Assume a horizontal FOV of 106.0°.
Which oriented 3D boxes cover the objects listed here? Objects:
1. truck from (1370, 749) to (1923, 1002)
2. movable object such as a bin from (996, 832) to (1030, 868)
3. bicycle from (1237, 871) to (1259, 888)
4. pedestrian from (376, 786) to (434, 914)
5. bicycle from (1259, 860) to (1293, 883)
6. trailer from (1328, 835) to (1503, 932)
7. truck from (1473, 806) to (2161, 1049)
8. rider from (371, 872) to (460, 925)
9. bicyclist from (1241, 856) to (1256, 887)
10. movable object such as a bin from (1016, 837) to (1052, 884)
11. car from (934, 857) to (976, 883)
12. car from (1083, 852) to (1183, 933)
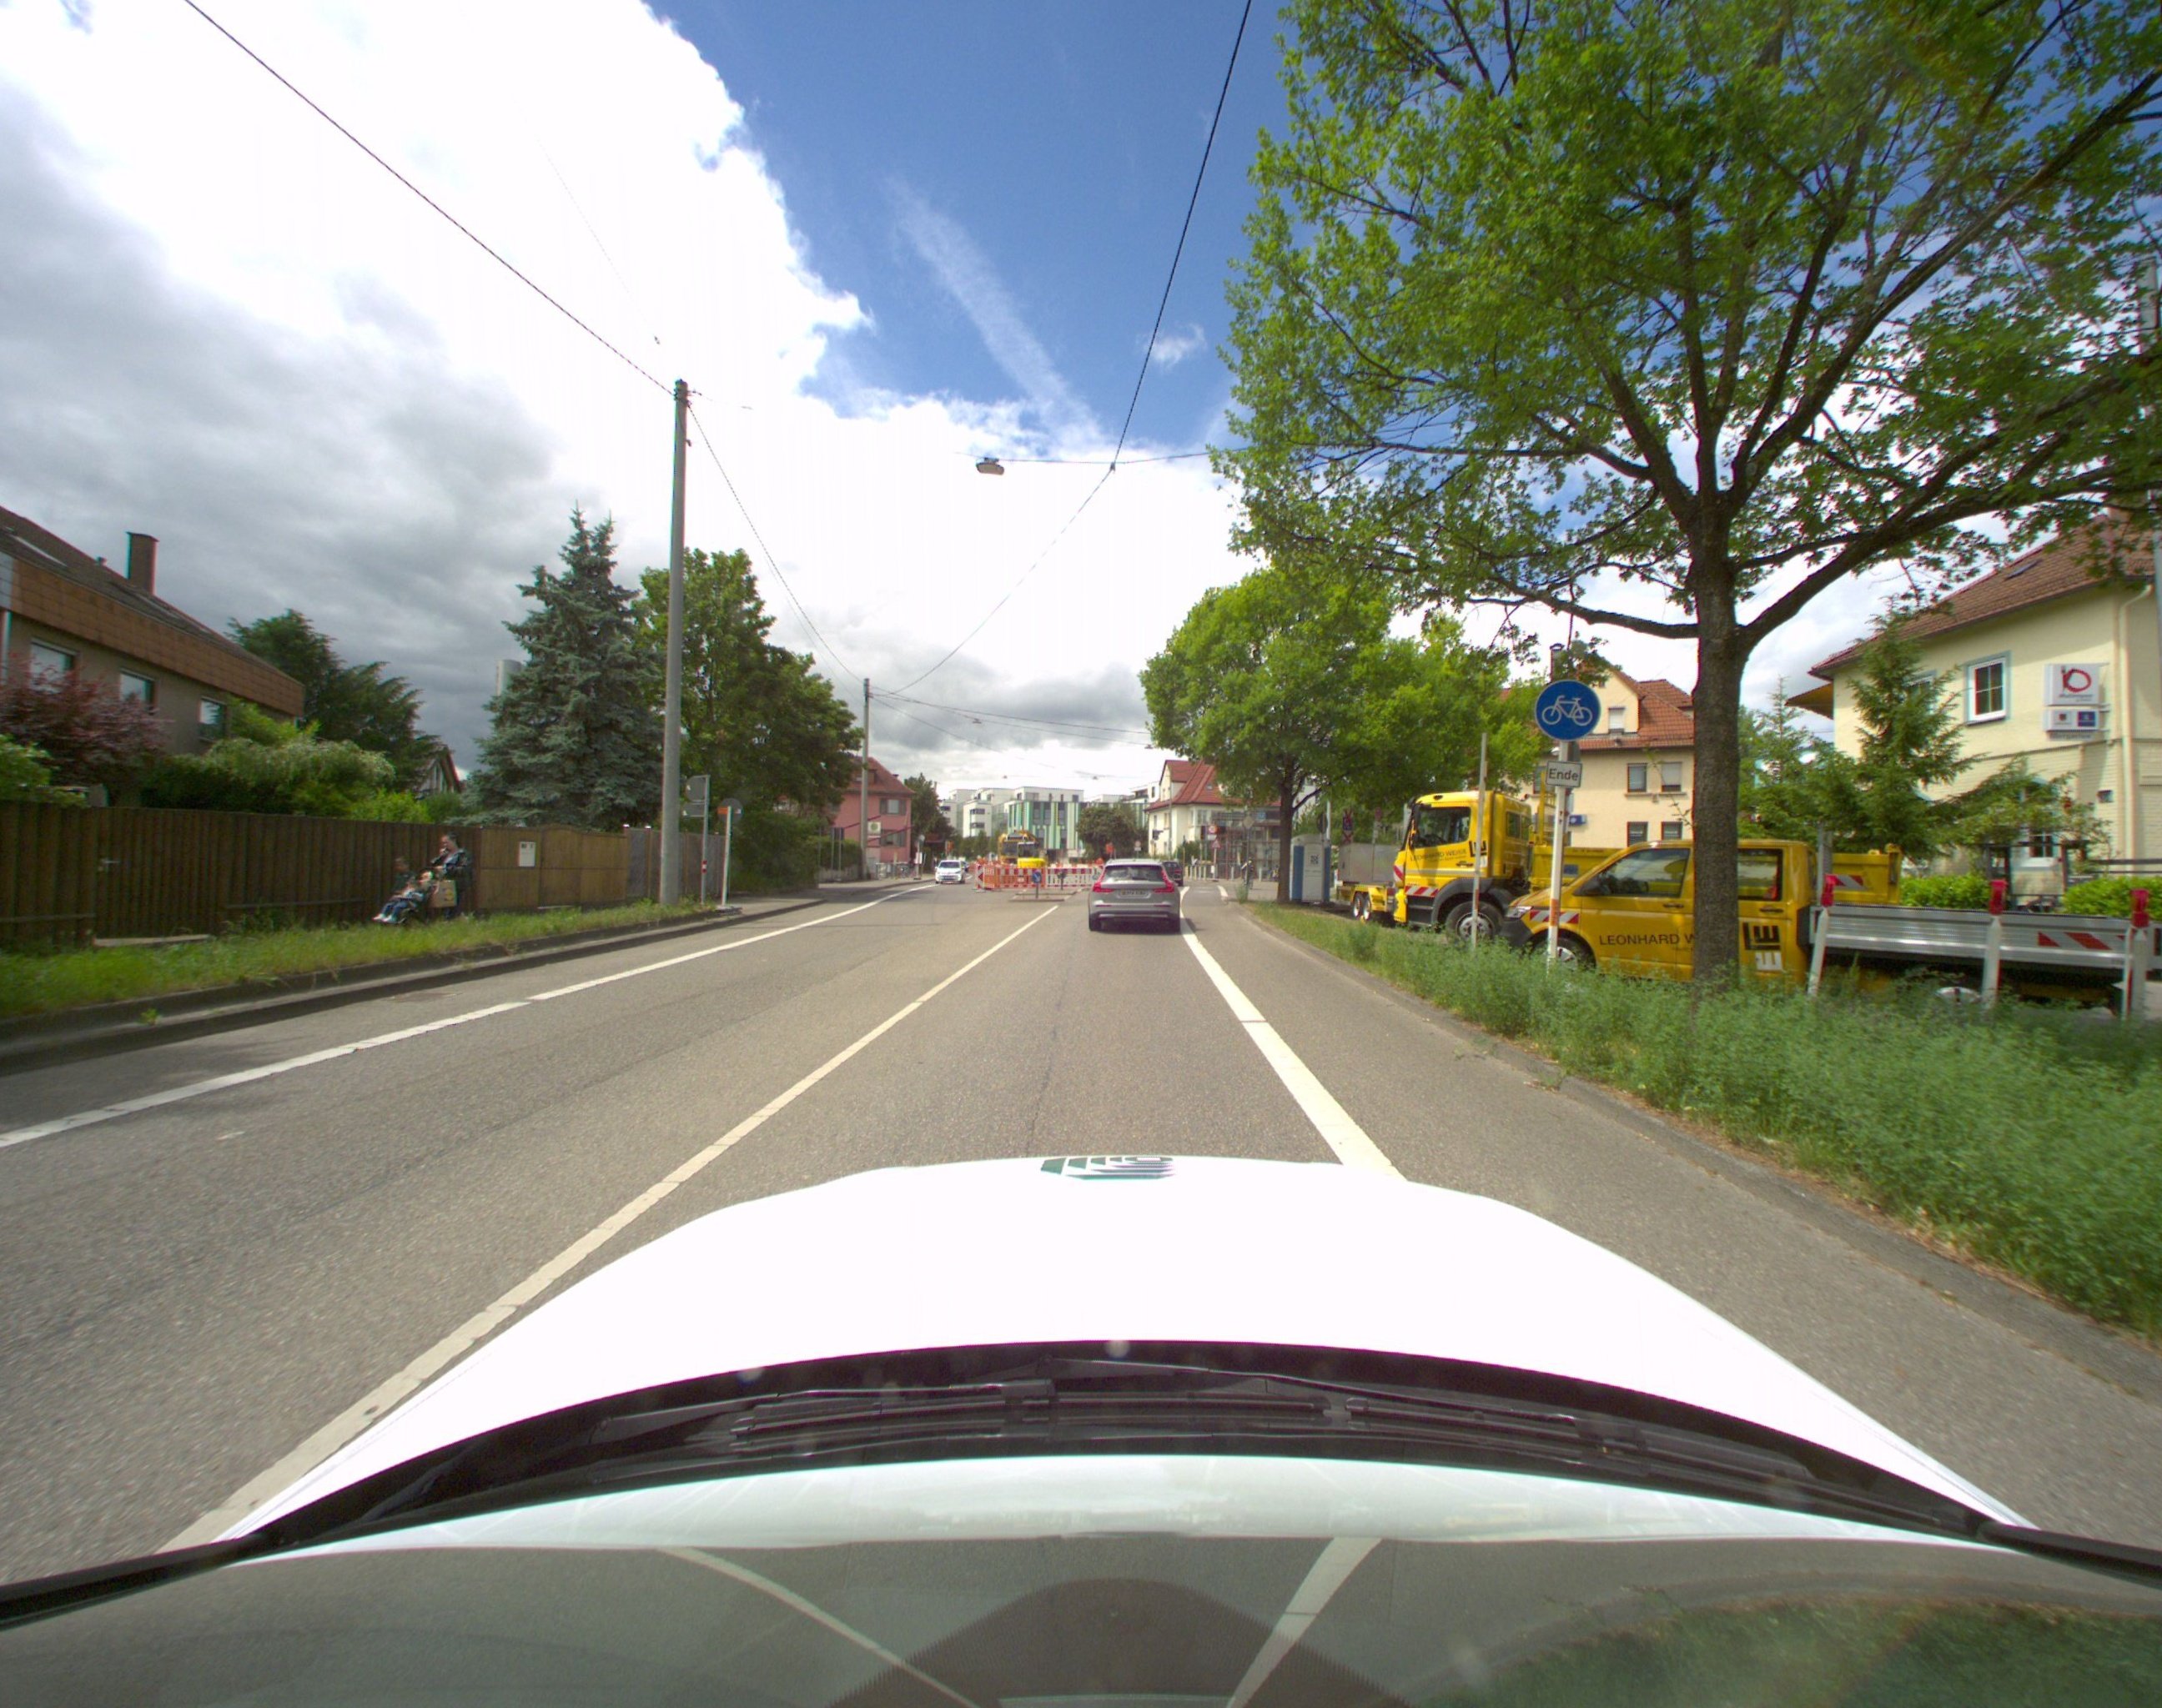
[{"bbox_3d":[8.461,0.253,12.932,6.623,3.008,2.786,2,-3,43],"label":"truck"},{"bbox_3d":[-6.070,-0.361,71.768,2.311,2.990,6.403,1,0,-10],"label":"movable object such as a bin"},{"bbox_3d":[8.732,1.325,42.536,0.593,0.812,1.750,4,-2,-6],"label":"bicycle"},{"bbox_3d":[-10.906,-0.063,13.151,0.401,2.014,0.414,4,-2,0],"label":"pedestrian"},{"bbox_3d":[12.202,1.056,51.064,1.385,1.190,3.474,3,2,3],"label":"bicycle"},{"bbox_3d":[8.116,0.677,20.516,2.379,2.032,5.517,2,-1,3],"label":"trailer"},{"bbox_3d":[7.875,0.615,9.414,2.011,2.014,5.609,5,-3,-43],"label":"truck"},{"bbox_3d":[-10.086,0.664,12.365,0.727,0.735,0.689,4,-2,-5],"label":"rider"},{"bbox_3d":[8.757,0.900,42.601,0.588,1.559,0.565,4,-2,-6],"label":"bicyclist"},{"bbox_3d":[-2.798,0.389,49.382,2.030,2.643,5.934,1,0,-2],"label":"movable object such as a bin"},{"bbox_3d":[-7.846,1.009,50.967,1.881,1.508,4.001,-1,-2,2],"label":"car"},{"bbox_3d":[1.210,0.739,17.622,1.918,1.540,4.007,0,0,6],"label":"car"}]
